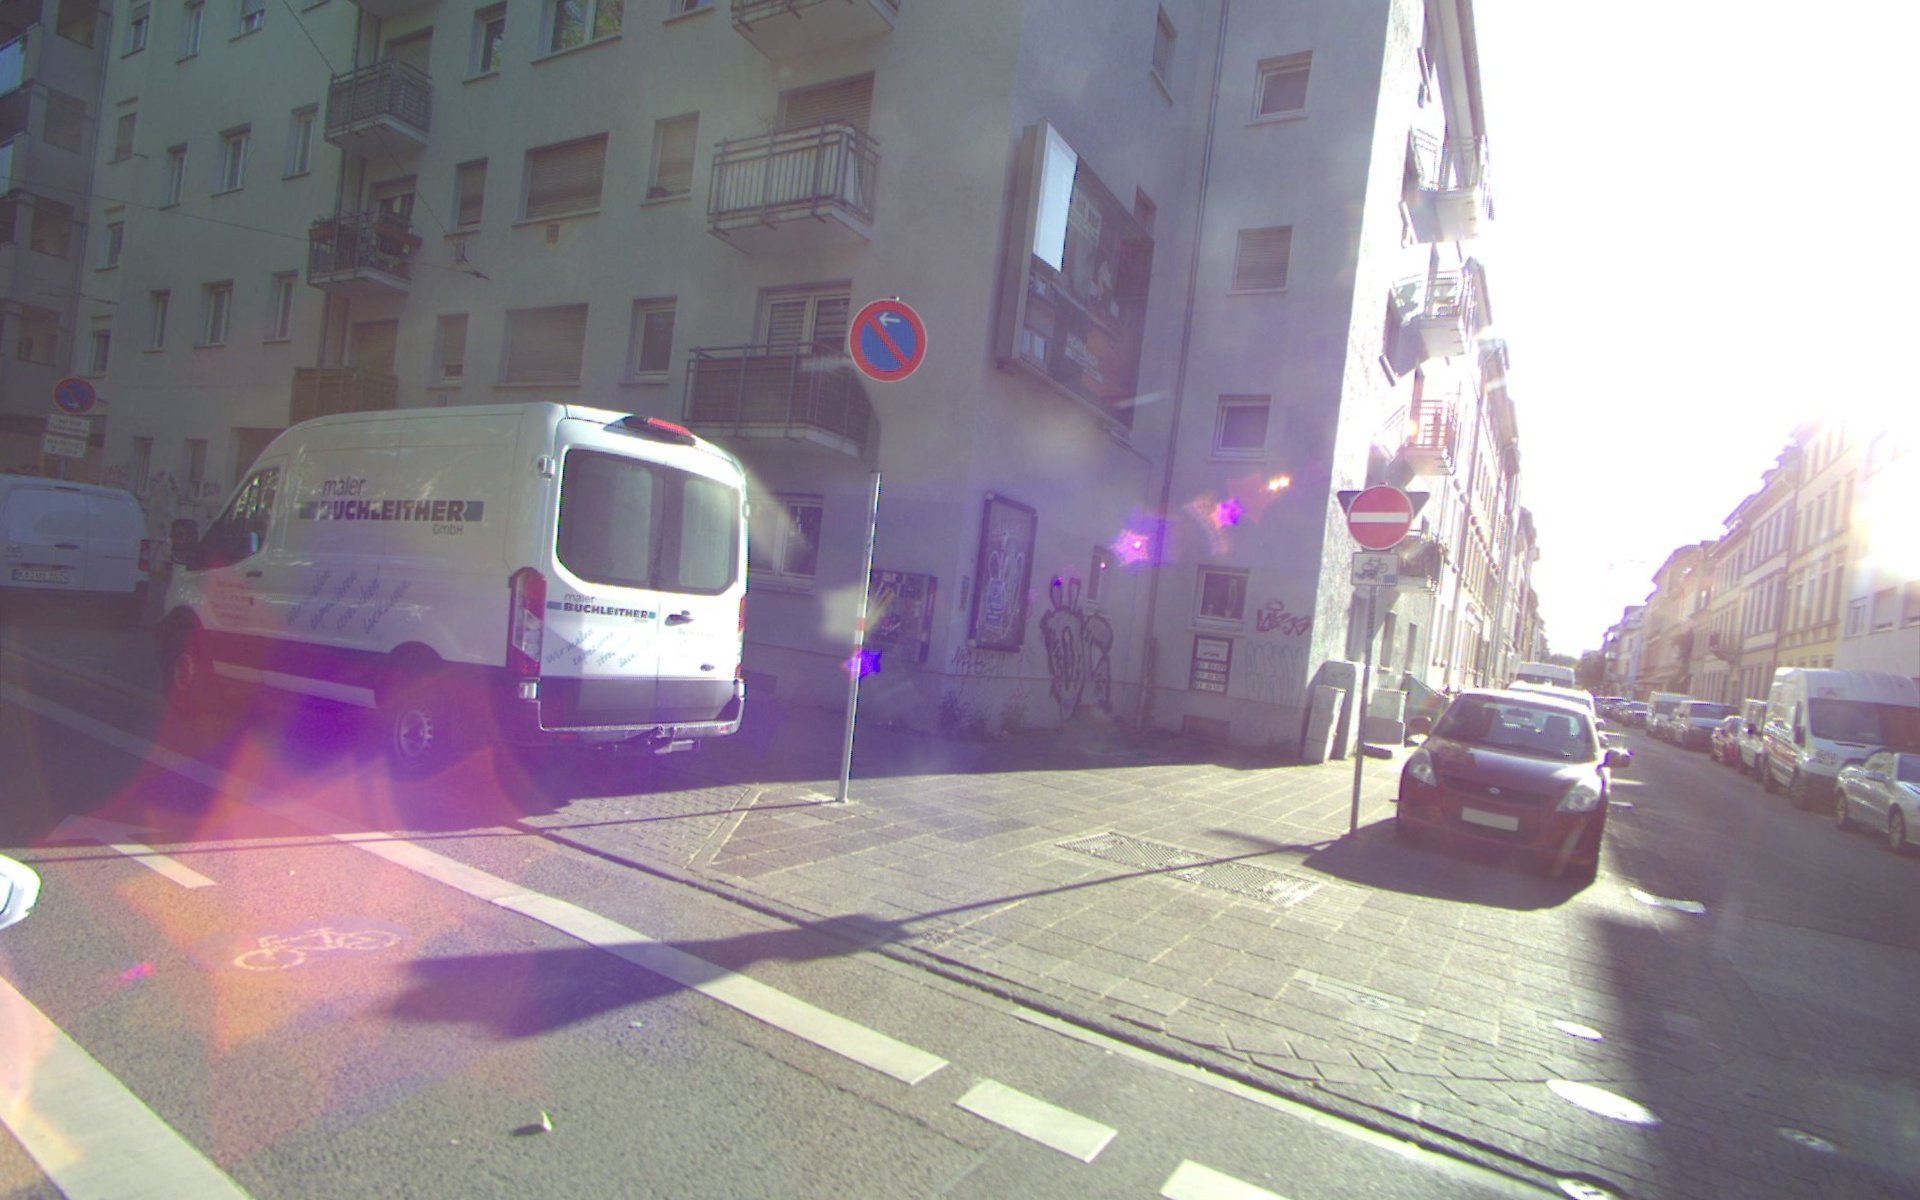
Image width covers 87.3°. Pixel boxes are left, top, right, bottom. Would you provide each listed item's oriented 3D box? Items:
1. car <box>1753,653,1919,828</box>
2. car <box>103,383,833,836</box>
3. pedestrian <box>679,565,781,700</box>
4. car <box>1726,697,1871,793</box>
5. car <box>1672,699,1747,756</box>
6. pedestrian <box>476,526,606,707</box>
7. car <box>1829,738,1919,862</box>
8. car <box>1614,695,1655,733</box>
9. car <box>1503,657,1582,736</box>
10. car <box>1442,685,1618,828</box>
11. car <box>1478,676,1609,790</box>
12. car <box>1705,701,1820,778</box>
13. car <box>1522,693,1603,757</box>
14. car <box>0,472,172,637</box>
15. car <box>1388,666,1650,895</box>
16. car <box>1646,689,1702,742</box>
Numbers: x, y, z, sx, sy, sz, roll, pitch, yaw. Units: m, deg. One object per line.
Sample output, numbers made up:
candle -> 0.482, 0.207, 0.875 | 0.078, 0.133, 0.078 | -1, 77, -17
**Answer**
car -> 17.562, 2.678, 19.792 | 2.204, 2.809, 5.533 | 7, -1, 32
car -> -4.160, -0.133, 8.048 | 5.987, 2.525, 2.152 | 6, -1, 31
pedestrian -> -2.959, 0.415, 12.929 | 0.918, 1.598, 0.633 | 6, -2, 33
car -> 20.876, 3.524, 25.263 | 1.745, 1.888, 4.673 | 7, -1, 29
car -> 29.076, 4.883, 39.154 | 1.689, 1.815, 4.191 | 7, -1, 30
pedestrian -> -4.609, 0.173, 11.068 | 1.064, 1.846, 0.710 | 6, 1, 33
car -> 13.942, 2.835, 14.178 | 1.672, 1.394, 3.995 | 4, -2, 29
car -> 42.450, 7.131, 63.362 | 1.689, 2.078, 4.191 | 7, -1, 30
car -> 21.392, 3.501, 37.010 | 2.112, 2.427, 5.641 | 7, -1, 30
car -> 8.056, 2.058, 14.128 | 1.761, 1.473, 4.030 | 6, -1, 32
car -> 10.965, 2.401, 18.833 | 1.761, 1.656, 4.253 | 6, -1, 32
car -> 23.806, 4.072, 29.993 | 1.966, 1.815, 3.830 | 7, -1, 30
car -> 16.533, 3.377, 27.758 | 1.634, 1.423, 4.146 | 6, -1, 29
car -> -12.648, -0.720, 13.410 | 4.278, 1.842, 1.861 | 7, 0, 31
car -> 5.621, 1.627, 10.034 | 1.761, 1.593, 3.655 | 8, -1, 33
car -> 35.774, 5.753, 50.504 | 1.689, 2.298, 4.191 | 7, -1, 30
